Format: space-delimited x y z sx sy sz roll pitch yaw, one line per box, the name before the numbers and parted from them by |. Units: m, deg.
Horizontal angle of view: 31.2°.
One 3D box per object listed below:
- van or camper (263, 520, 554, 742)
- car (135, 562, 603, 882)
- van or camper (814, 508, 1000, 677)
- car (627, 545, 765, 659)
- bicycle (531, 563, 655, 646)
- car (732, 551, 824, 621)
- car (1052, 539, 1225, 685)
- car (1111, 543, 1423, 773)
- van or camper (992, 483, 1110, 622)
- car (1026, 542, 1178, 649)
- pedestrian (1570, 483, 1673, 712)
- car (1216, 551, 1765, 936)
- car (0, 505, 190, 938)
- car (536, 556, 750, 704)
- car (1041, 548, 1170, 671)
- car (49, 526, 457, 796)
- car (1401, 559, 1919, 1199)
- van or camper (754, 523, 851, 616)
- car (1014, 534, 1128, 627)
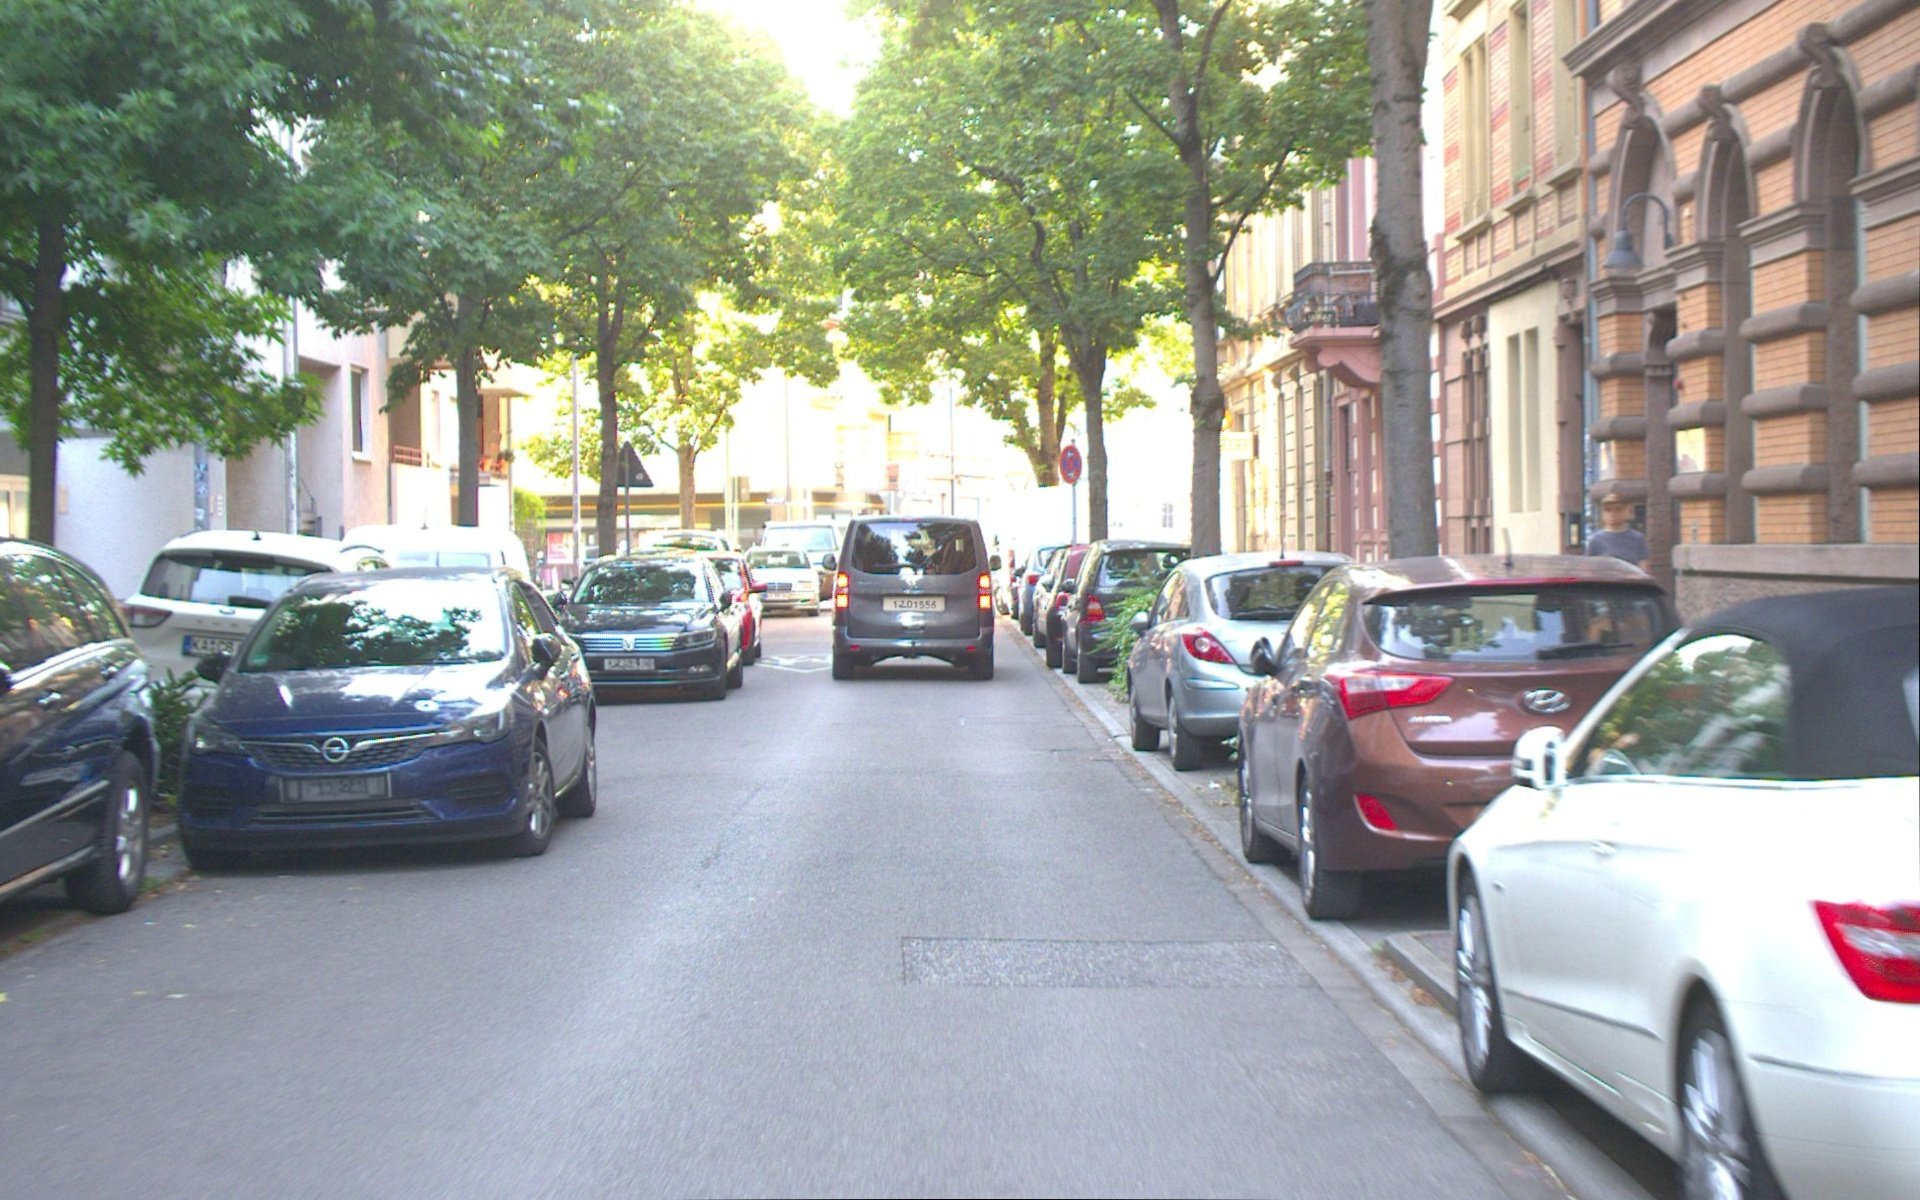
van or camper | -4.841 0.213 30.779 1.931 1.754 4.466 3 1 -2
car | -3.034 0.554 18.543 1.830 1.512 4.516 0 1 -1
van or camper | -0.568 -0.118 40.778 2.035 1.891 4.271 0 1 1
car | -3.464 0.000 45.581 1.630 1.425 3.543 -1 1 -2
bicycle | -5.444 0.071 51.054 0.605 1.191 1.824 3 2 45
car | -3.738 -0.306 71.078 1.741 1.399 3.375 -1 1 -1
car | 1.988 0.101 39.190 1.611 1.553 3.766 -1 1 -2
car | 2.155 0.358 25.123 1.697 1.477 4.001 -2 1 -3
van or camper | 1.737 -0.929 67.189 1.993 2.590 5.425 0 1 -2
car | 1.910 -0.083 47.210 1.715 1.398 3.814 -1 1 -3
pedestrian | 4.802 -0.025 24.980 0.627 1.643 0.532 0 1 0
car | 2.191 0.531 15.278 1.722 1.445 4.215 -1 0 -1
car | -4.628 0.423 13.797 1.993 1.641 4.922 2 1 -1
car | -3.278 0.269 36.269 1.846 1.446 4.503 0 1 0
car | 1.836 0.089 43.489 1.551 1.491 3.610 0 1 2
car | -4.973 0.354 24.862 2.034 1.666 4.649 3 1 -2
car | 2.214 0.630 7.942 1.693 1.396 4.646 -1 1 -1
van or camper | -3.454 -0.684 76.177 1.862 1.976 4.271 -1 1 1
car | 1.785 -0.335 56.214 1.750 1.466 3.776 0 1 0
